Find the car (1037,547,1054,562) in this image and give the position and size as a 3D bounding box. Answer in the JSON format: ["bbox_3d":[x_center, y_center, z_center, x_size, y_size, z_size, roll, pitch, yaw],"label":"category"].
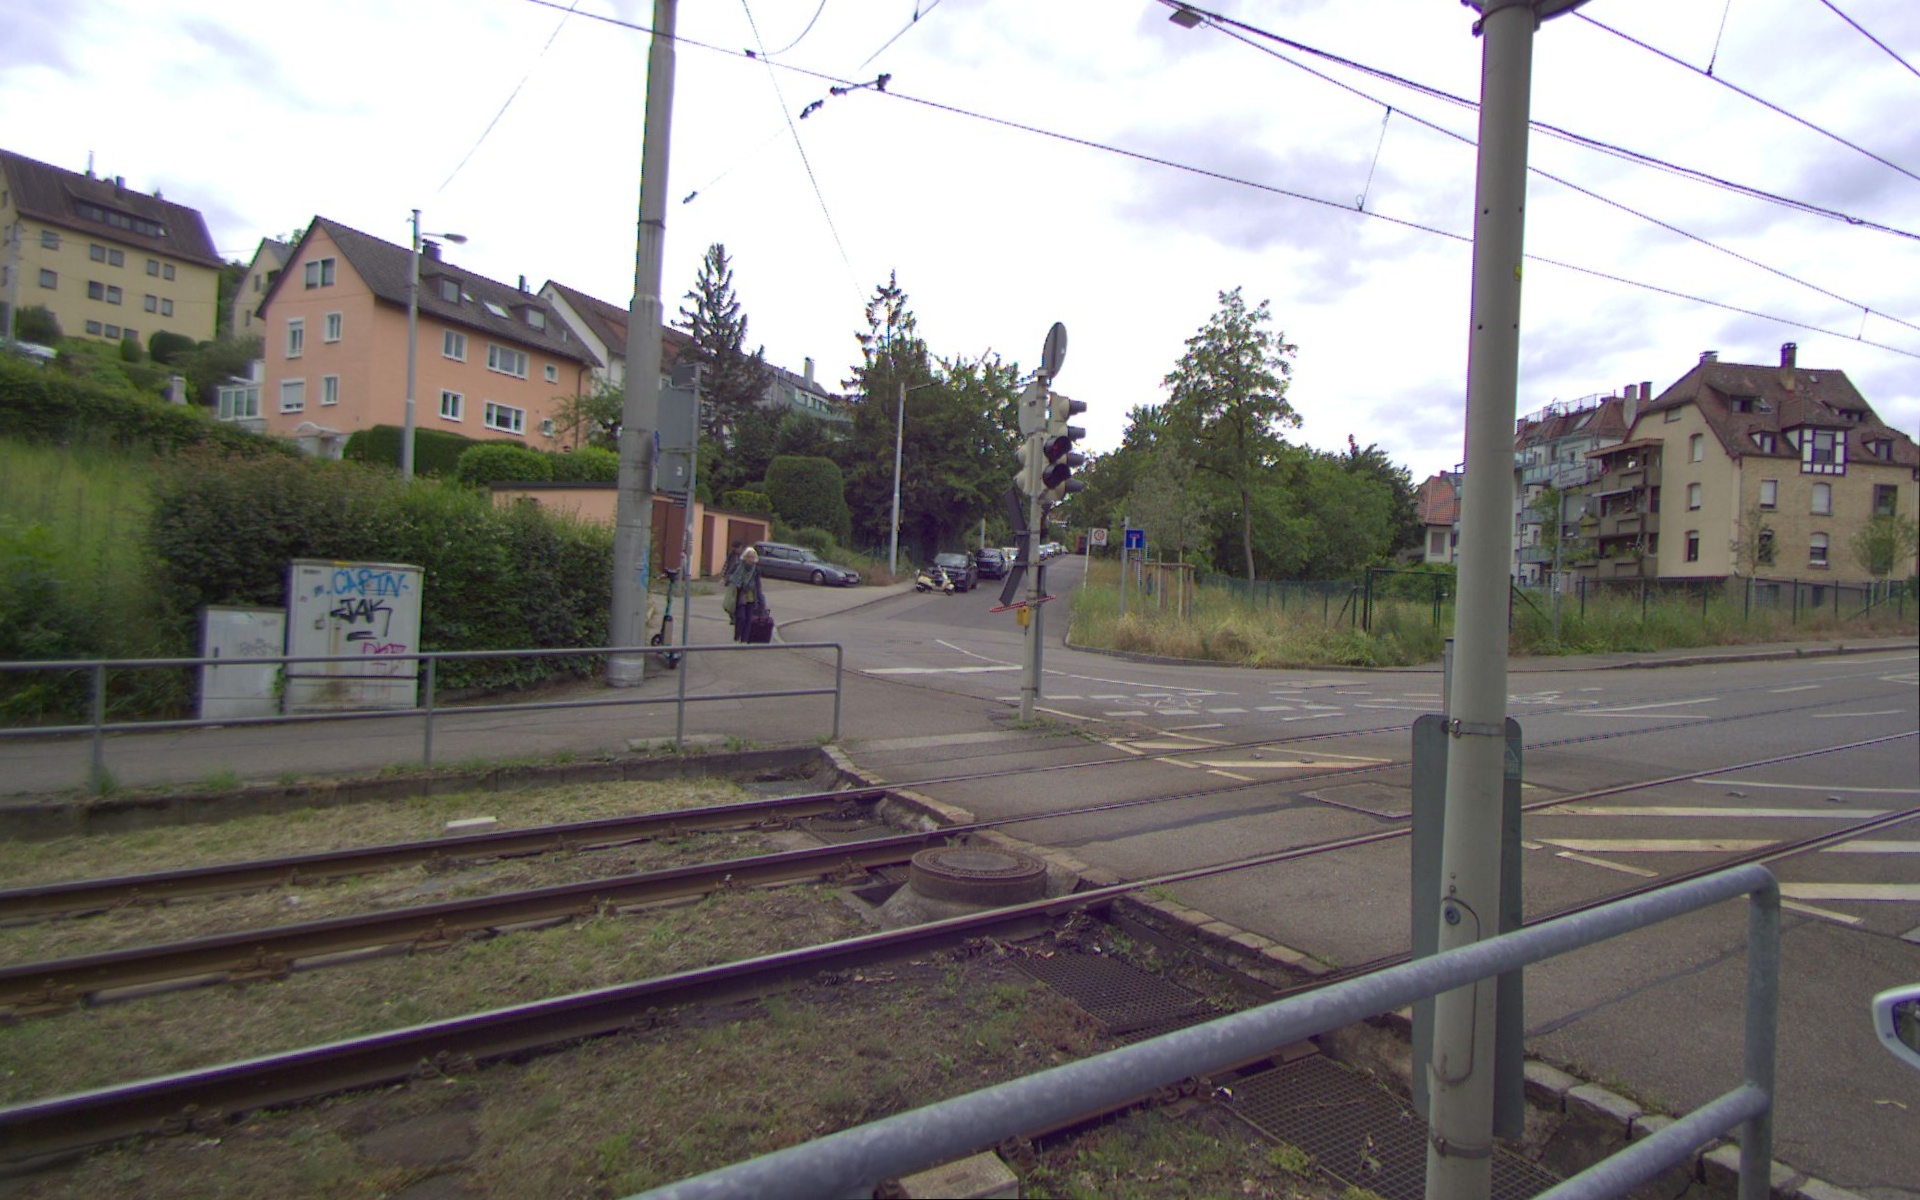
[{"bbox_3d":[10.540,-5.552,123.223,1.800,1.680,4.134,1,1,9],"label":"car"}]

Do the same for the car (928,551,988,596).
[{"bbox_3d":[-0.044,-1.194,43.108,1.937,1.713,4.451,1,4,8],"label":"car"}]

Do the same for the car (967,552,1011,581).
[{"bbox_3d":[1.698,-1.864,57.283,1.942,1.532,4.134,1,1,10],"label":"car"}]

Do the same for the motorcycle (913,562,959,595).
[{"bbox_3d":[-0.944,-0.847,39.817,1.671,1.172,0.522,5,2,6],"label":"motorcycle"}]

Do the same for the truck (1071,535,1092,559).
[{"bbox_3d":[21.102,-9.139,174.003,3.488,3.649,8.203,1,1,7],"label":"truck"}]

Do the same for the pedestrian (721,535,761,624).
[{"bbox_3d":[-4.501,-0.406,20.591,0.730,1.774,0.899,1,1,-16],"label":"pedestrian"}]

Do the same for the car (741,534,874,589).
[{"bbox_3d":[-5.966,-1.503,39.146,4.791,1.634,1.997,7,4,28],"label":"car"}]

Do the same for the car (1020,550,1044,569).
[{"bbox_3d":[6.780,-3.802,94.198,1.800,1.680,4.134,1,1,10],"label":"car"}]

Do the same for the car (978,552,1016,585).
[{"bbox_3d":[2.380,-1.982,64.095,1.942,2.041,4.134,1,1,9],"label":"car"}]

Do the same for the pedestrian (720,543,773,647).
[{"bbox_3d":[-3.378,-0.081,15.860,0.744,1.595,0.750,1,1,-16],"label":"pedestrian"}]

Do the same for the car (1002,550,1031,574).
[{"bbox_3d":[4.376,-2.911,77.306,1.800,1.680,4.134,1,1,10],"label":"car"}]

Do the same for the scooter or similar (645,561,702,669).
[{"bbox_3d":[-3.880,0.174,13.555,0.413,1.306,1.402,0,5,-29],"label":"scooter or similar"}]

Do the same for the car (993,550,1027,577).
[{"bbox_3d":[3.605,-2.576,72.068,1.863,1.813,4.486,1,1,10],"label":"car"}]
